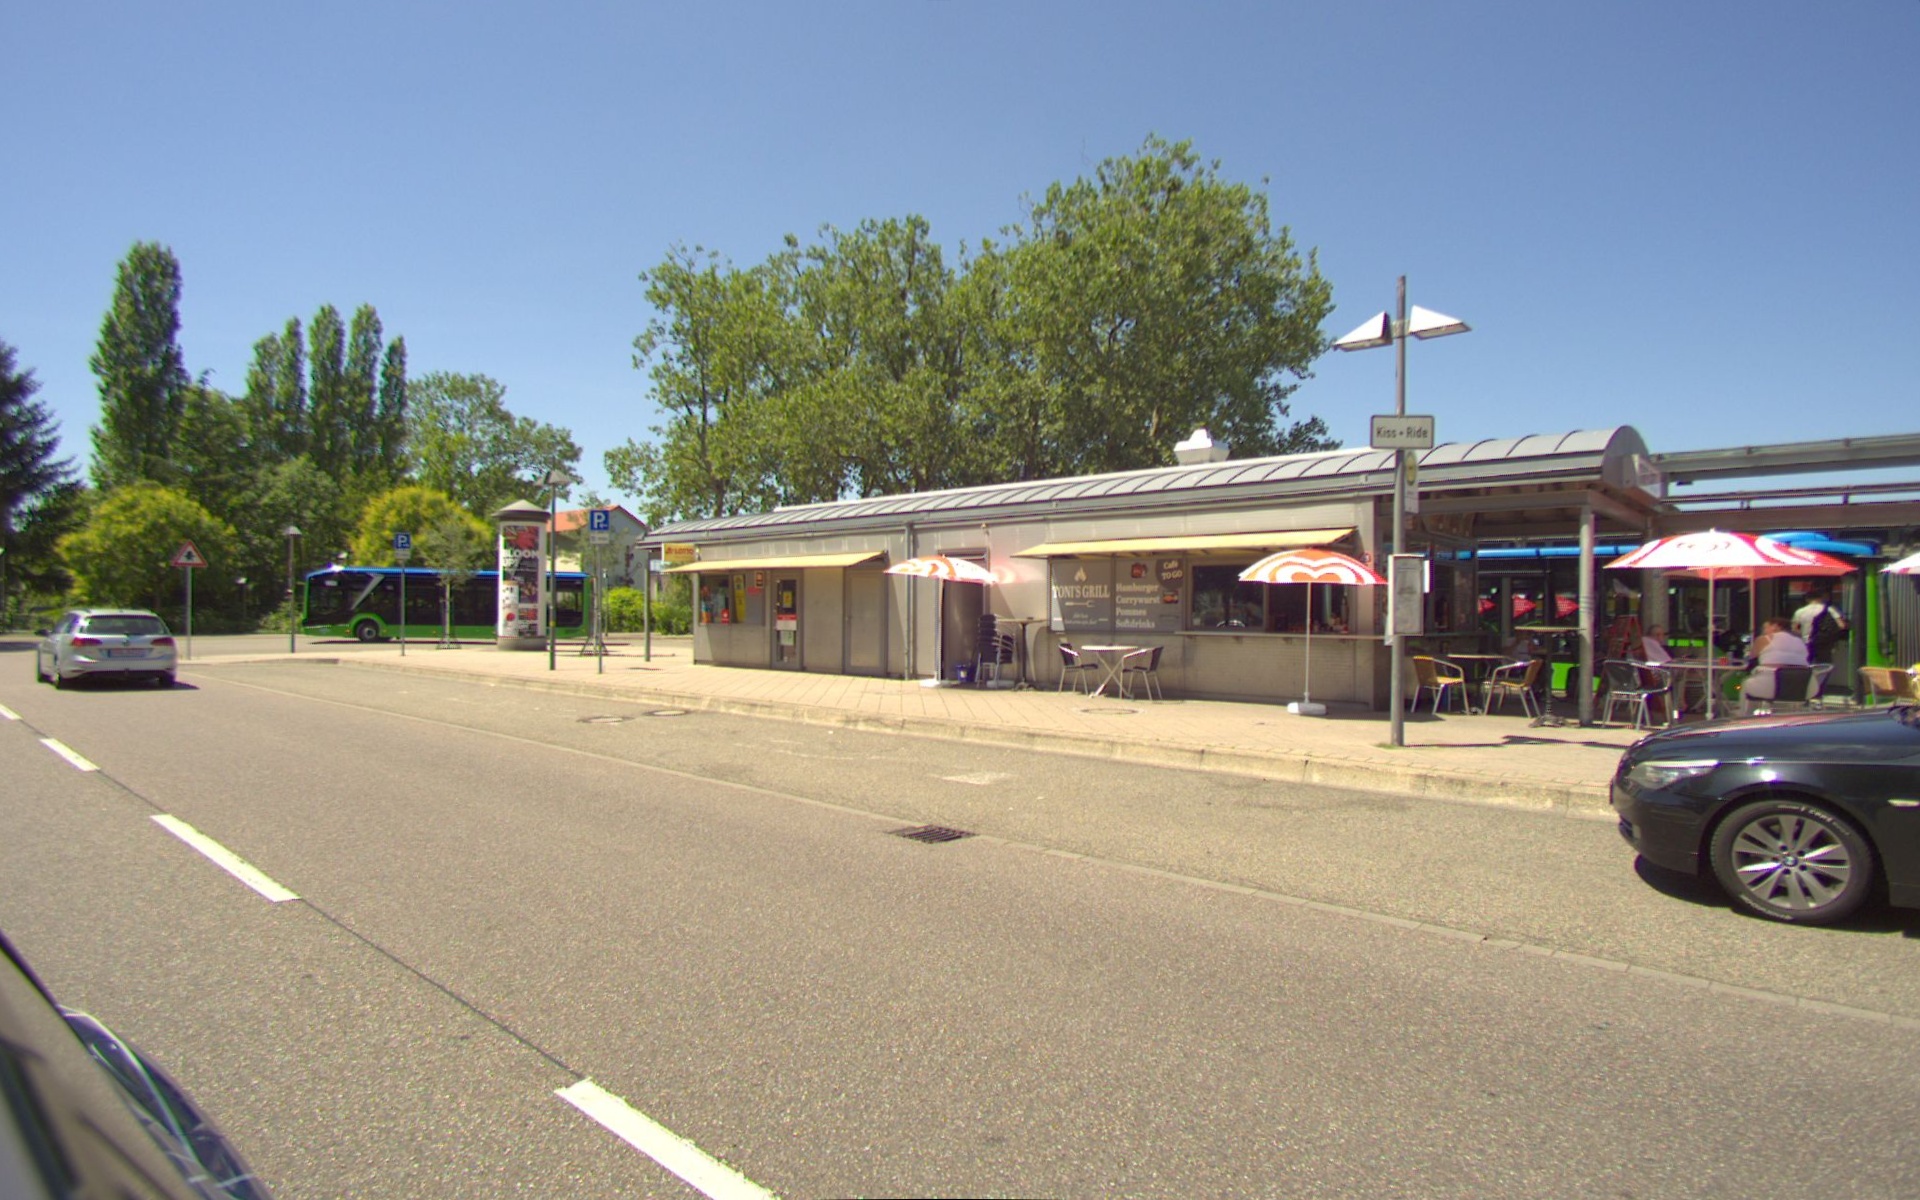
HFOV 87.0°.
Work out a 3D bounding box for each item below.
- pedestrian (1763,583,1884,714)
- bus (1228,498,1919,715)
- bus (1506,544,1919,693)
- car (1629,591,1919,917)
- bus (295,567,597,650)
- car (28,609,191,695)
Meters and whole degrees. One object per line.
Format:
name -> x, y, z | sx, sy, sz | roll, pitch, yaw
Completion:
pedestrian -> 12.733, 0.680, 14.942 | 0.788, 1.841, 1.146 | 1, 0, -32
bus -> 11.425, 0.194, 20.102 | 11.848, 3.258, 2.932 | -1, -2, 43
bus -> 20.679, 0.402, 21.791 | 15.522, 3.060, 2.835 | -1, -2, 45
car -> 5.905, 0.713, 4.455 | 4.783, 1.489, 1.701 | 0, -1, 41
bus -> -22.856, 0.358, 45.627 | 12.024, 3.553, 2.174 | 0, -1, -10
car -> -16.223, 0.943, 19.236 | 4.157, 1.455, 1.795 | -1, -3, 42
